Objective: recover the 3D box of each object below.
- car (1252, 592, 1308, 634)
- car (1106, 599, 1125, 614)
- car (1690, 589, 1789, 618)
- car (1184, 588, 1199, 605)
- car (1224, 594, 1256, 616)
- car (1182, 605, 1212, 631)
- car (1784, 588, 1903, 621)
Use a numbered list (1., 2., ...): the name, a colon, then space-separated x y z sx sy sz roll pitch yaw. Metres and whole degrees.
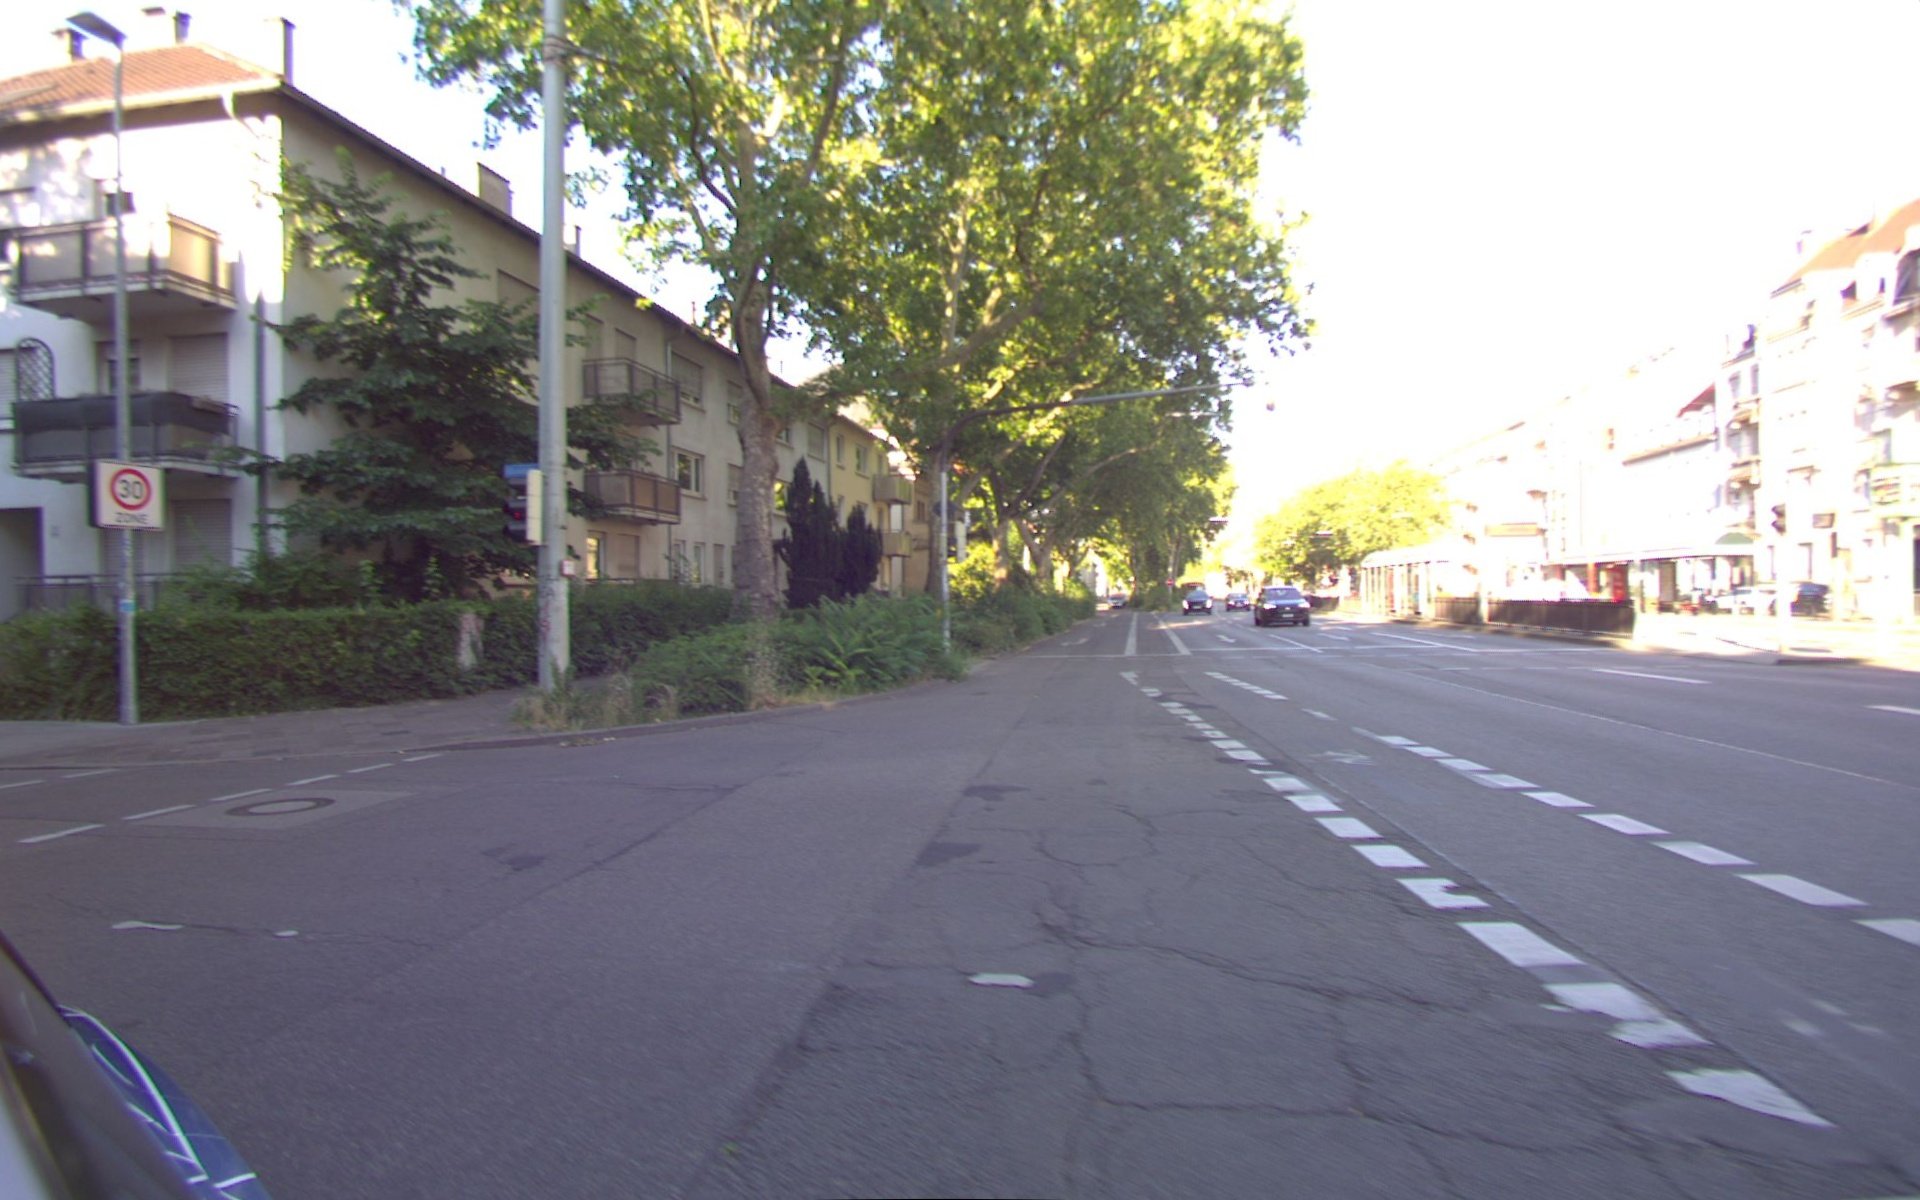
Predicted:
1. car: 12.970 0.513 41.212 1.861 1.608 3.982 -1 0 14
2. car: 16.786 0.694 109.185 1.859 1.608 3.988 -1 0 10
3. car: 41.441 0.166 53.855 3.660 1.475 1.945 -1 1 6
4. car: 32.462 -0.438 142.104 1.859 2.309 3.988 -1 0 10
5. car: 20.982 0.380 75.903 1.859 1.608 3.988 -1 0 10
6. car: 15.793 1.161 67.465 1.861 1.608 3.982 -1 0 14
7. car: 41.099 0.189 47.149 3.660 1.475 1.945 -1 1 6
